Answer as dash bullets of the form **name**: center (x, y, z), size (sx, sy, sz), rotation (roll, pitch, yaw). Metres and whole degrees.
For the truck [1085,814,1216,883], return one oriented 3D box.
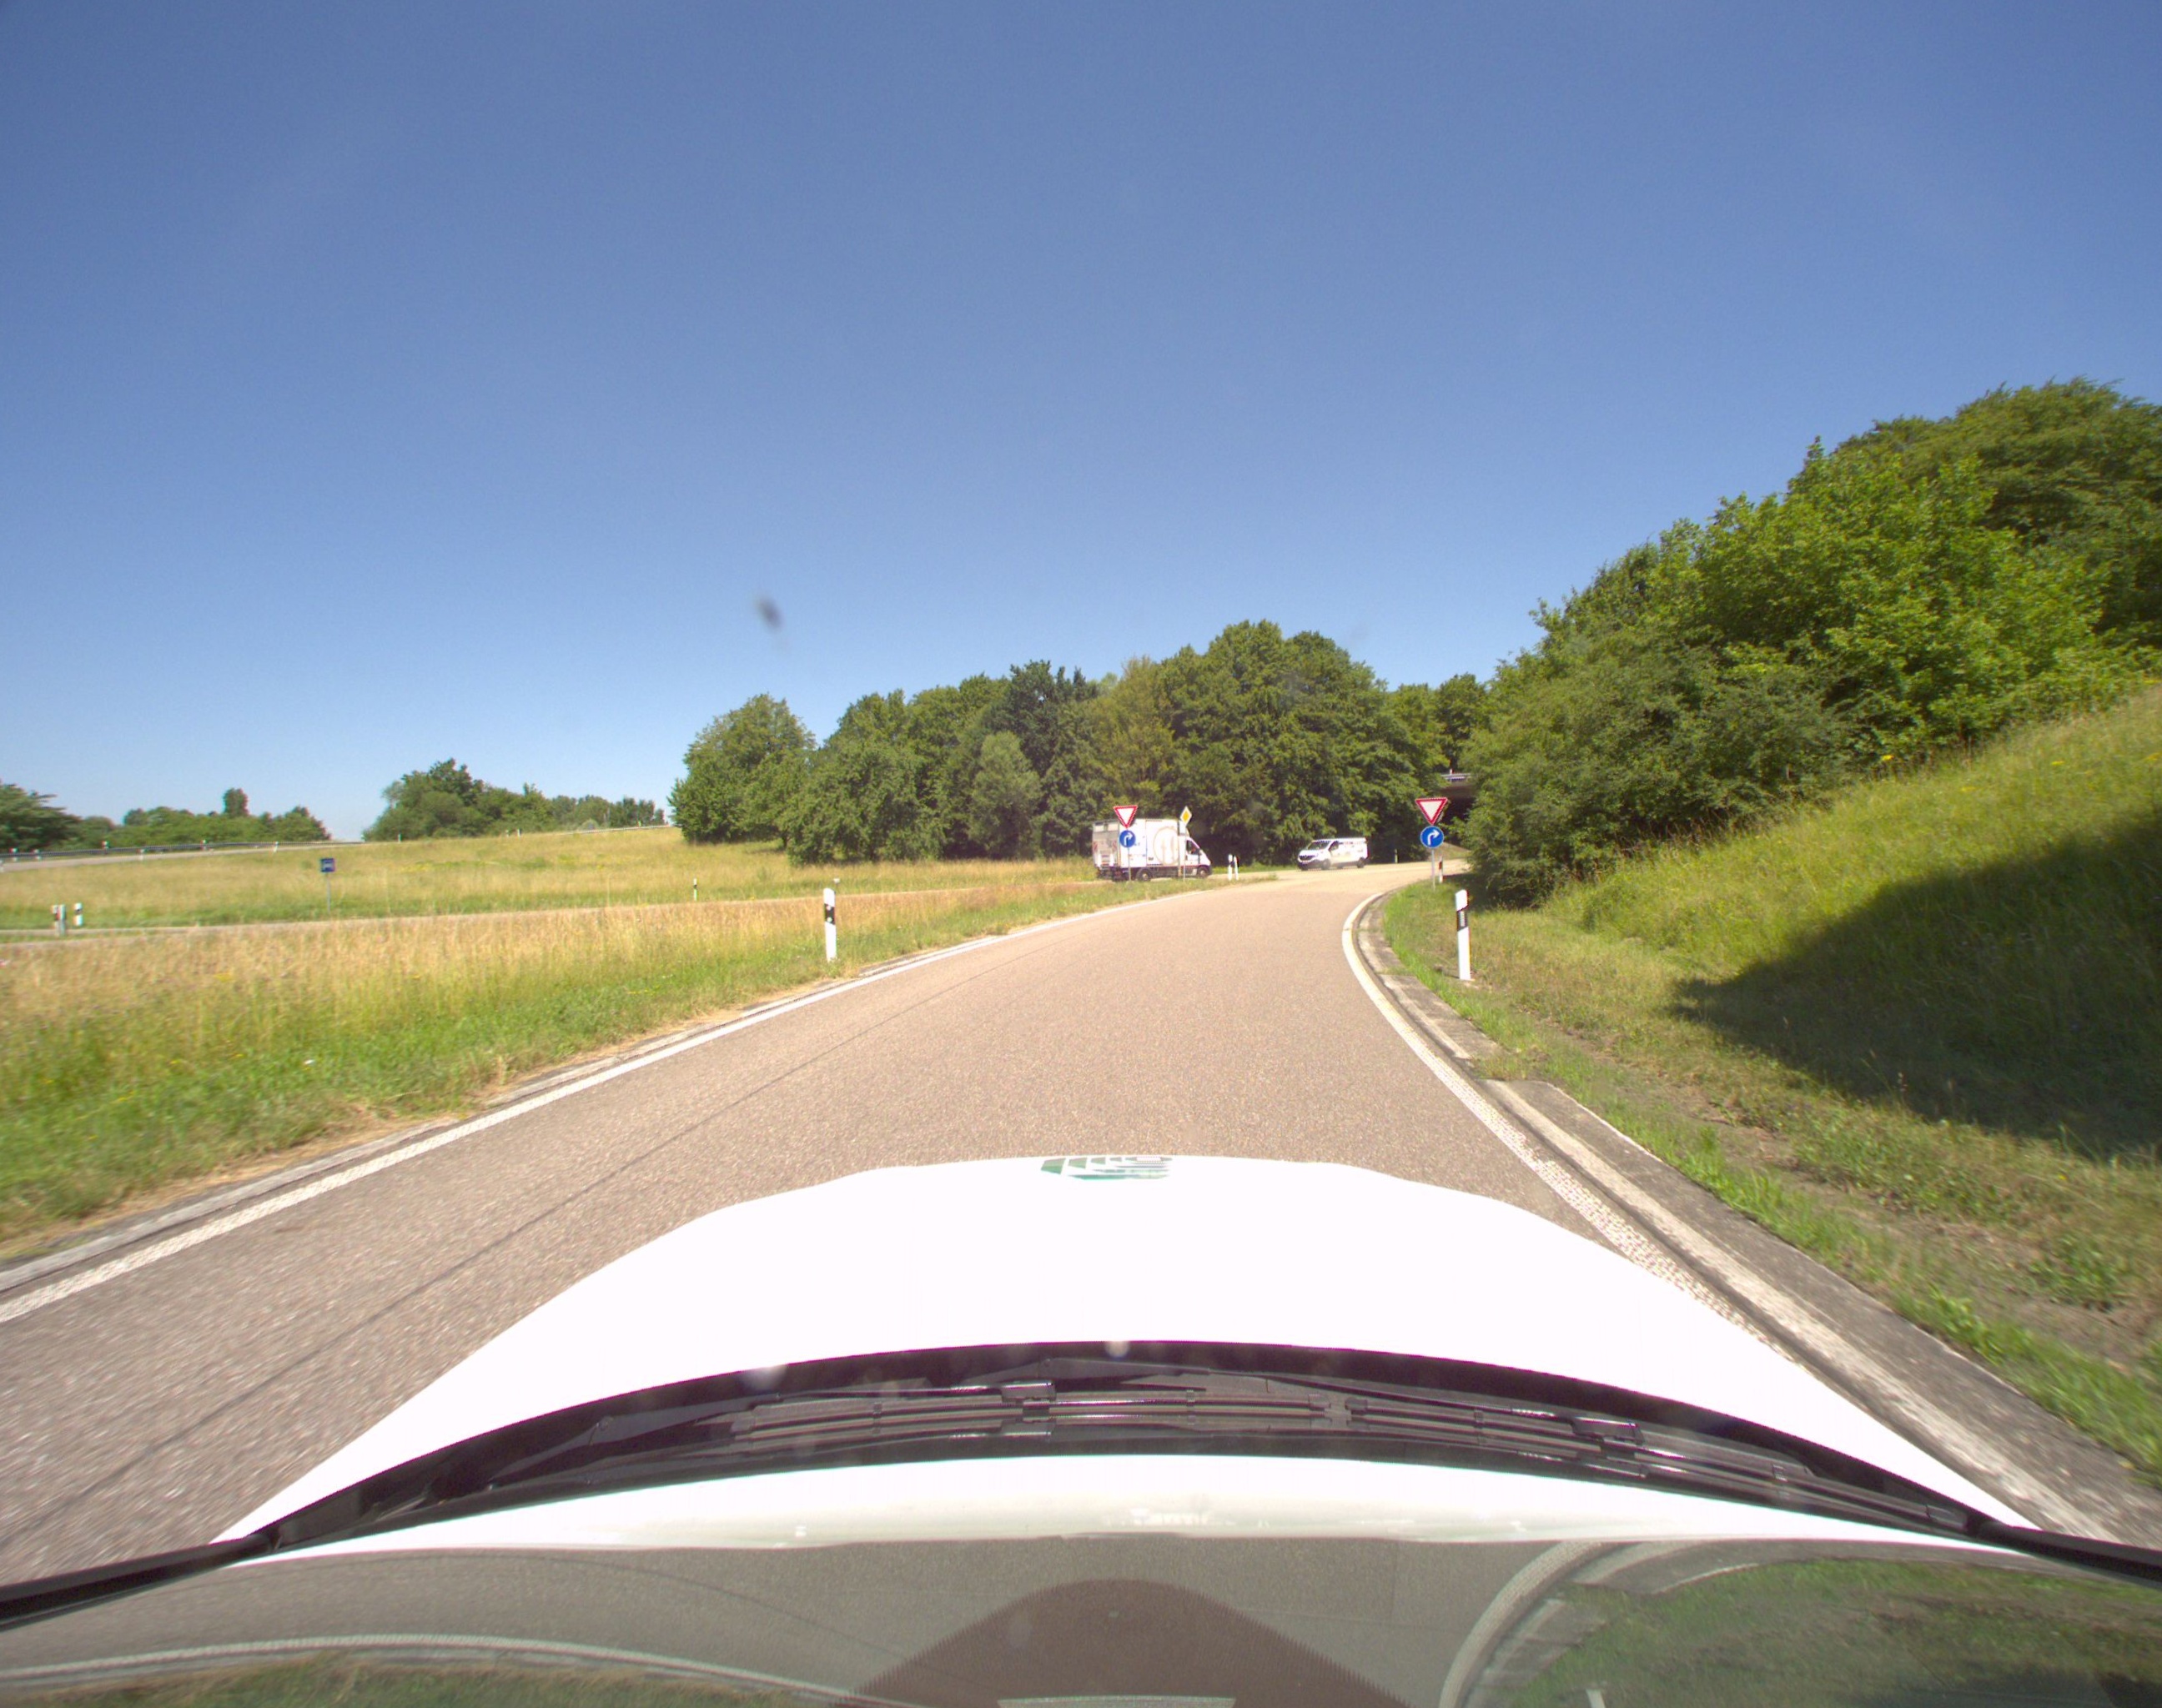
- **truck**: center (3.289, -0.277, 37.814), size (5.919, 2.985, 2.223), rotation (-2, 0, -35)

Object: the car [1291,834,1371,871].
- **car**: center (15.861, -0.130, 51.566), size (5.418, 1.960, 1.894), rotation (-4, 1, -36)
